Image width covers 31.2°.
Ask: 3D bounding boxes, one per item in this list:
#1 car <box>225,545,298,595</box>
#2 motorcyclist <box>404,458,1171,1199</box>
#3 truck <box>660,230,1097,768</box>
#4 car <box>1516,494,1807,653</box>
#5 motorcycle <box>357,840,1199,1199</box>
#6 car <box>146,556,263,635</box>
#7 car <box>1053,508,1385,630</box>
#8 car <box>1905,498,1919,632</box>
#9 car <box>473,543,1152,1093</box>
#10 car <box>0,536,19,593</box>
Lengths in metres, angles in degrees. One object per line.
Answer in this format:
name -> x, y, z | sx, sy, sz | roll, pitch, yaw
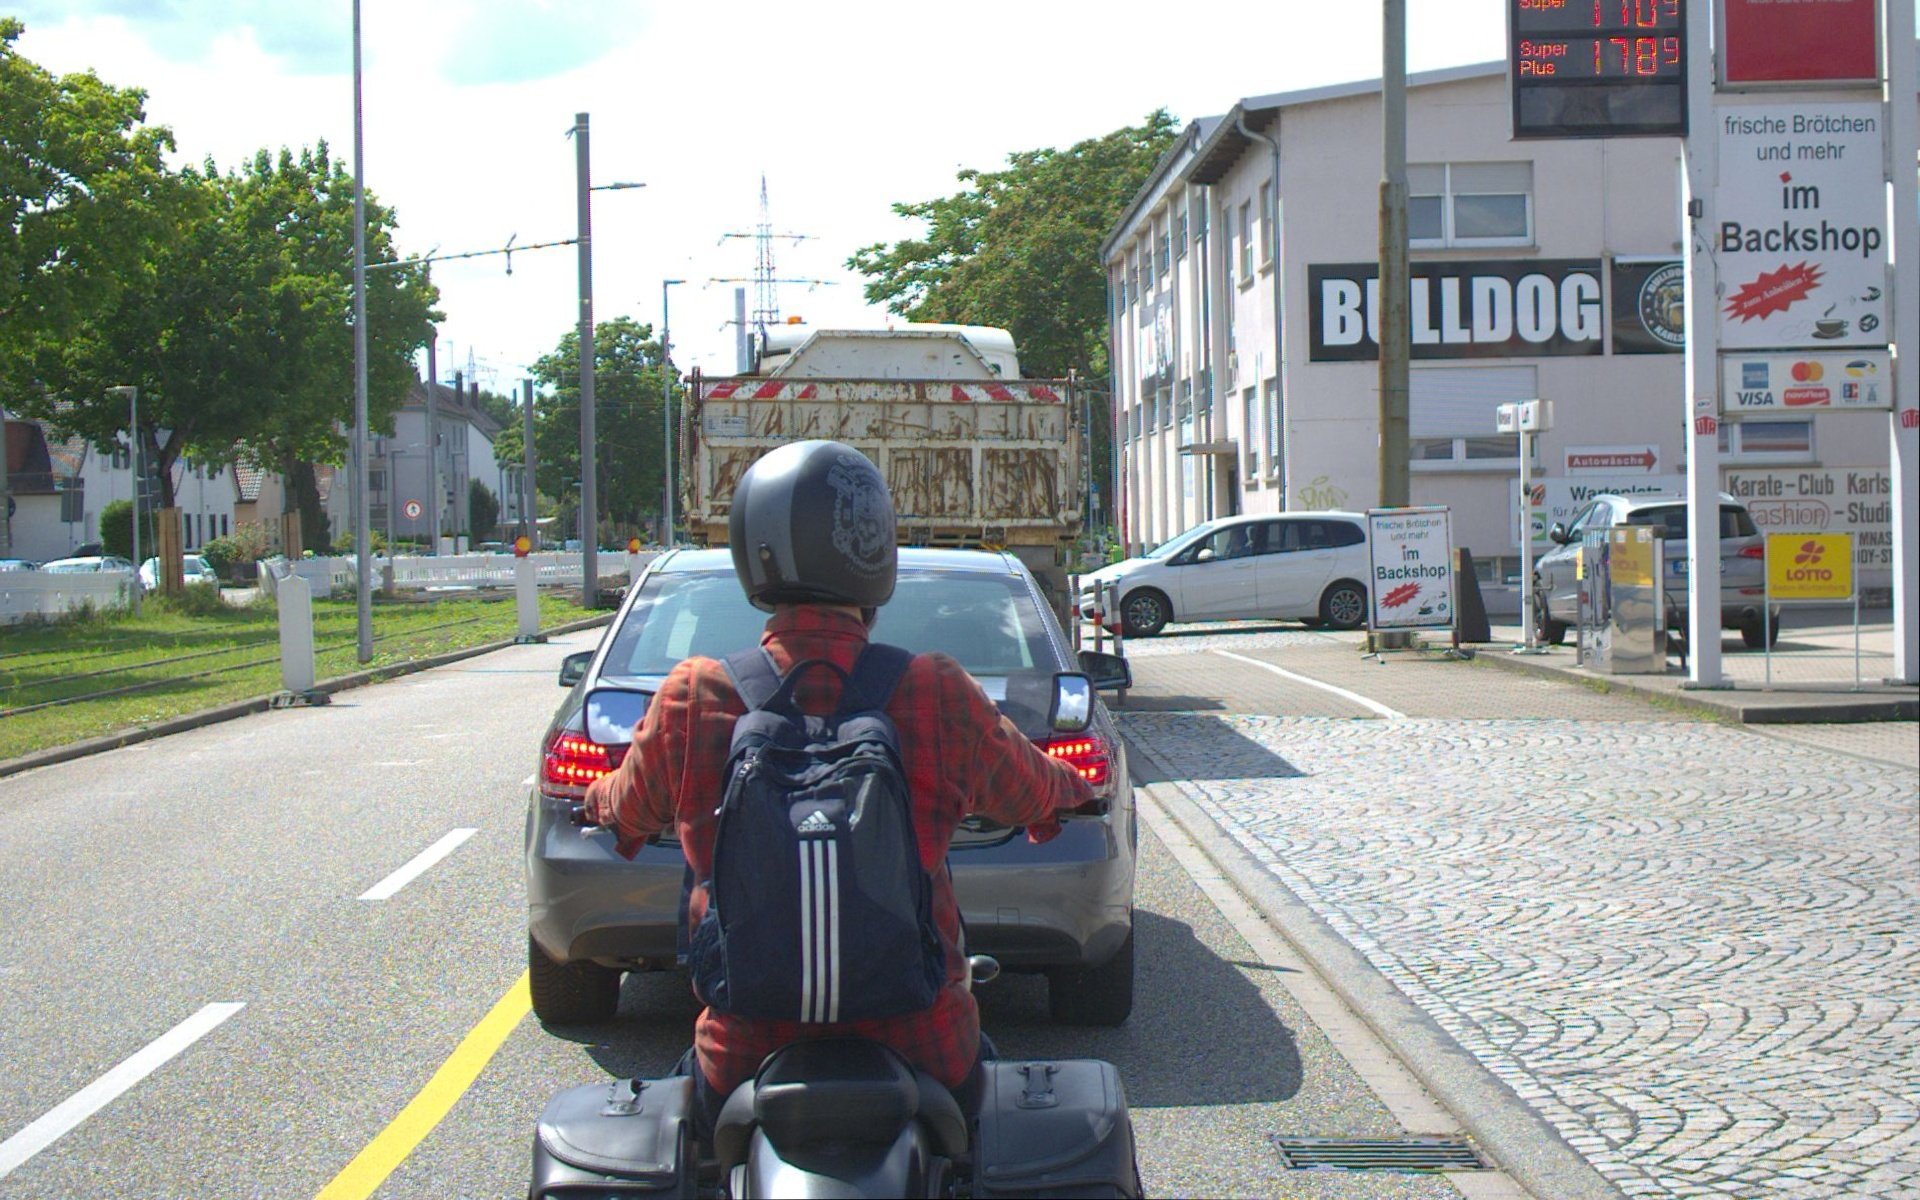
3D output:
car -> -25.422, -1.102, 125.246 | 1.776, 1.717, 4.128 | -1, 1, 0
motorcyclist -> -0.223, 0.611, 5.031 | 0.979, 1.597, 1.088 | -1, 1, -1
truck -> -0.549, -0.717, 25.367 | 2.638, 3.285, 8.057 | -1, 1, -1
car -> 7.373, -0.308, 36.524 | 1.667, 1.557, 4.245 | -1, 1, -8
motorcycle -> -0.219, 0.953, 5.342 | 0.979, 0.894, 2.653 | -1, 1, -1
car -> -17.501, -0.129, 79.788 | 1.776, 1.717, 4.128 | -1, 1, 0
car -> 3.516, -0.438, 46.999 | 4.229, 1.537, 1.673 | -1, 1, -8
car -> 11.728, -0.383, 37.094 | 1.806, 1.498, 3.834 | -1, 1, -3
car -> -0.423, 0.561, 11.337 | 1.823, 1.447, 4.000 | 1, 1, -1
car -> -30.048, -1.064, 104.410 | 1.776, 1.717, 4.128 | -1, 1, 0
